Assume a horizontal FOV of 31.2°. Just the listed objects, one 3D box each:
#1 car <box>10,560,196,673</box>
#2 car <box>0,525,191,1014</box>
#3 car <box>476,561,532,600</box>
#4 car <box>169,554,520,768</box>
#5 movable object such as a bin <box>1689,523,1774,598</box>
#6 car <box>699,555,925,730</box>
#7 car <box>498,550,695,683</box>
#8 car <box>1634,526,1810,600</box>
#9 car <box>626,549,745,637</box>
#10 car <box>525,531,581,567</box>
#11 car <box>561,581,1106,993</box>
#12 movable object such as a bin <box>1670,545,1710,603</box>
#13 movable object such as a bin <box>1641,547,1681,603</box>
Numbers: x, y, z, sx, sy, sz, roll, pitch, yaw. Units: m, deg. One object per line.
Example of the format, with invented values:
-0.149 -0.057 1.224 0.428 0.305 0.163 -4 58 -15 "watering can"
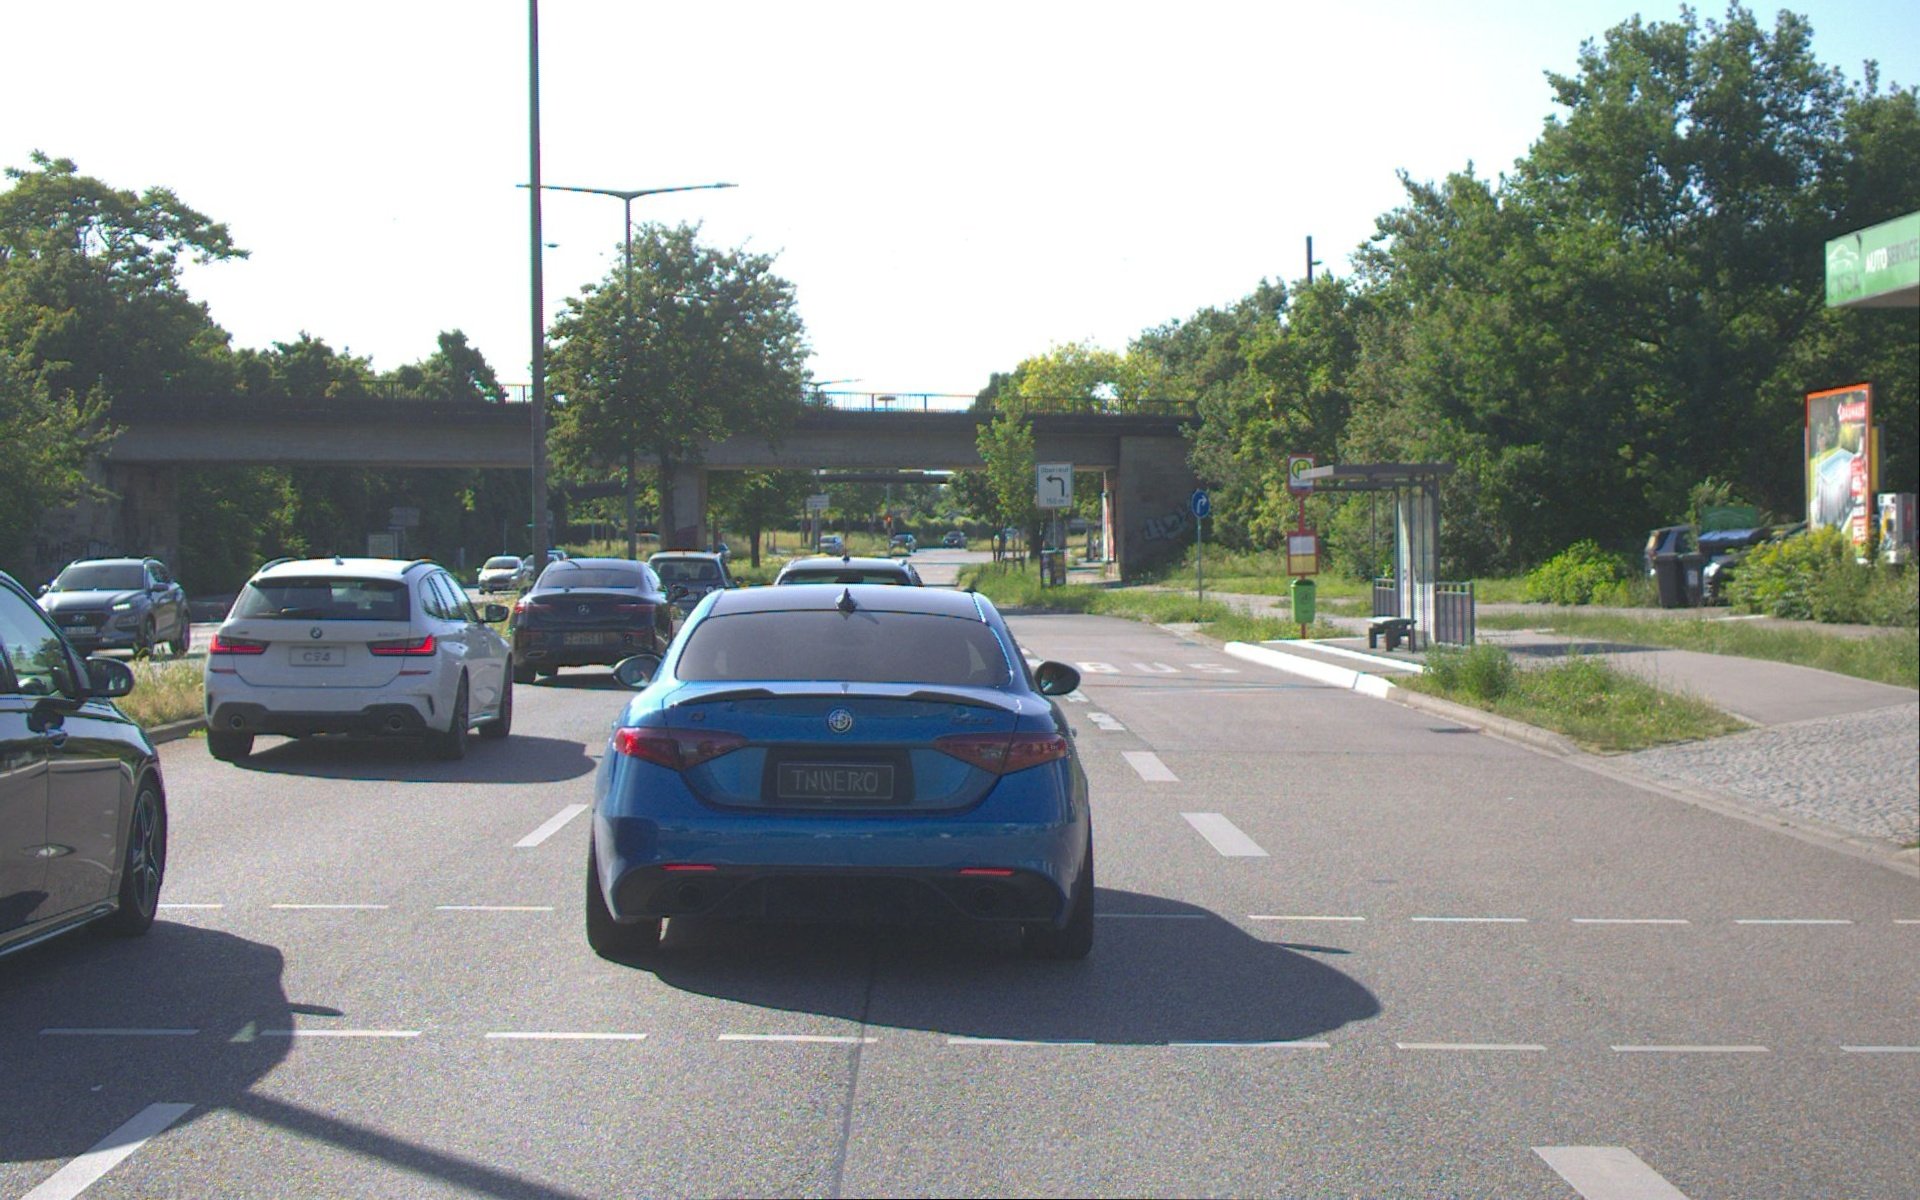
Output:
-13.414 0.225 54.067 1.874 1.636 4.171 -2 1 -1 "car"
-3.983 0.535 11.948 1.708 1.592 4.224 1 0 -1 "car"
-17.883 -0.767 134.966 1.641 1.446 4.112 -3 1 -1 "car"
-4.528 0.399 25.947 1.883 1.449 4.526 1 0 -1 "car"
14.803 -0.764 65.959 0.986 1.423 1.260 -1 1 -43 "movable object such as a bin"
-1.280 0.341 31.308 1.883 1.449 4.526 1 0 -1 "car"
-4.221 0.164 40.509 1.883 1.449 4.526 1 0 -1 "car"
15.909 -0.770 71.865 3.284 1.481 1.772 1 0 1 "car"
-4.776 -0.152 60.265 1.779 1.449 4.182 -1 1 -1 "car"
-17.256 -2.154 145.893 1.817 1.430 4.631 -3 1 -1 "car"
-0.470 0.641 14.119 1.883 1.401 4.224 1 0 -1 "car"
14.151 -0.501 66.611 0.580 1.117 0.510 -1 1 -42 "movable object such as a bin"
13.635 -0.493 66.870 0.580 1.071 0.510 -1 1 -42 "movable object such as a bin"
